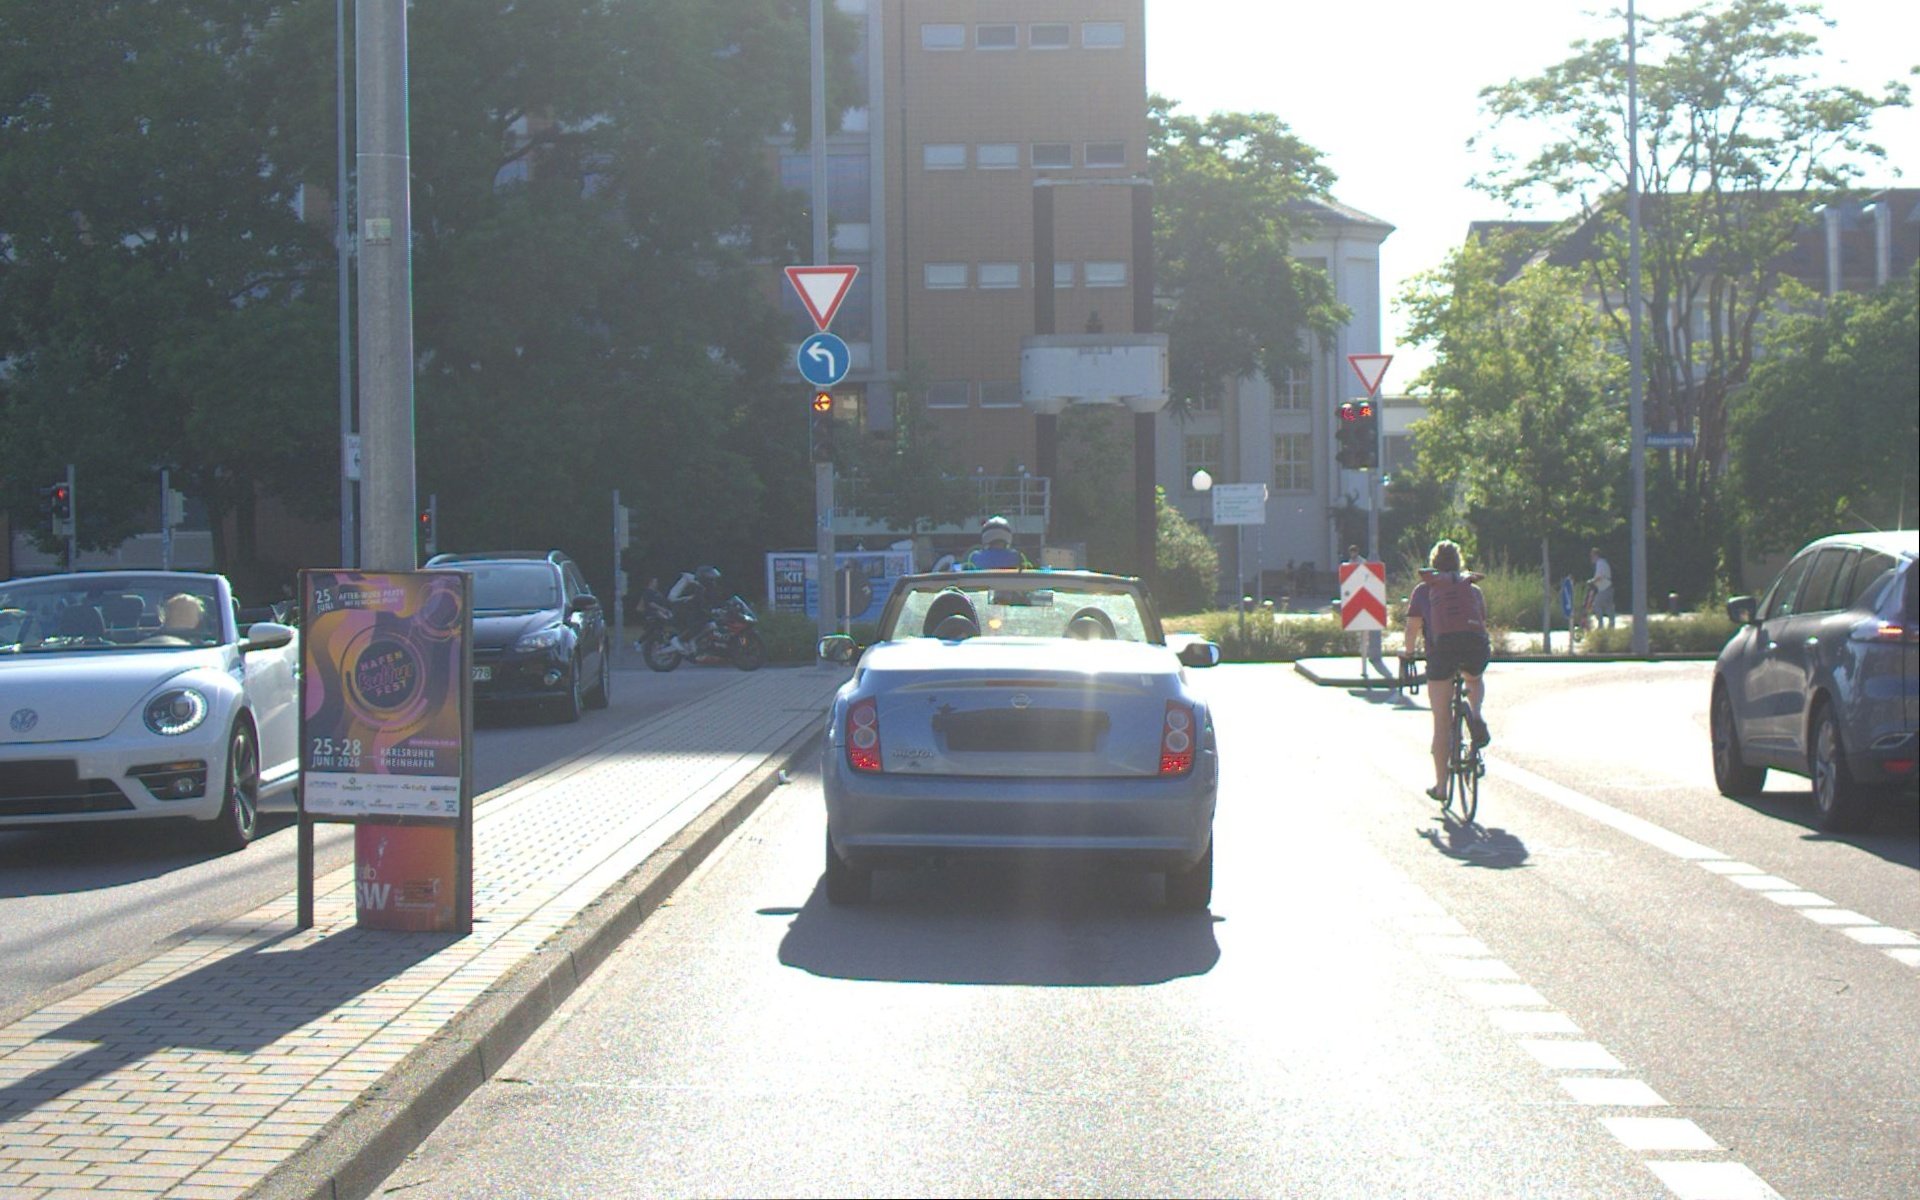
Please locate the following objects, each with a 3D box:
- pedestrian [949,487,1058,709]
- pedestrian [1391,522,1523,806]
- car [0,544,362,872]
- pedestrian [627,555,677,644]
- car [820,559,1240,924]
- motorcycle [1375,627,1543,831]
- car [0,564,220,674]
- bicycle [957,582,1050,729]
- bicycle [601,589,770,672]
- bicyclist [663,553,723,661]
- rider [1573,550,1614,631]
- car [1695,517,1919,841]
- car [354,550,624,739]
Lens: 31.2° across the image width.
[{"bbox_3d":[0.376,-0.016,29.416,0.833,1.862,0.921,1,0,5],"label":"pedestrian"},{"bbox_3d":[2.865,0.364,19.882,0.587,1.593,1.025,1,0,0],"label":"pedestrian"},{"bbox_3d":[-4.454,0.499,18.318,1.799,1.525,4.000,-2,1,0],"label":"car"},{"bbox_3d":[-6.529,-0.016,72.920,0.870,1.862,0.660,1,0,13],"label":"pedestrian"},{"bbox_3d":[0.253,0.577,15.841,1.660,1.436,4.154,1,0,-1],"label":"car"},{"bbox_3d":[2.861,0.712,19.922,0.613,1.094,2.360,1,0,0],"label":"motorcycle"},{"bbox_3d":[-12.965,0.274,50.683,3.640,1.555,1.649,-1,1,11],"label":"car"},{"bbox_3d":[0.391,0.461,29.343,0.608,1.187,2.414,1,0,5],"label":"bicycle"},{"bbox_3d":[-4.080,0.451,51.168,2.407,1.187,0.609,1,0,8],"label":"bicycle"},{"bbox_3d":[-3.968,0.105,51.154,0.752,1.593,0.589,1,0,8],"label":"bicyclist"},{"bbox_3d":[12.610,-0.185,68.427,0.752,1.593,0.589,1,0,13],"label":"rider"},{"bbox_3d":[5.643,0.436,20.088,1.831,1.683,4.368,1,0,1],"label":"car"},{"bbox_3d":[-4.137,0.346,30.770,1.799,1.525,4.000,-2,1,0],"label":"car"}]
